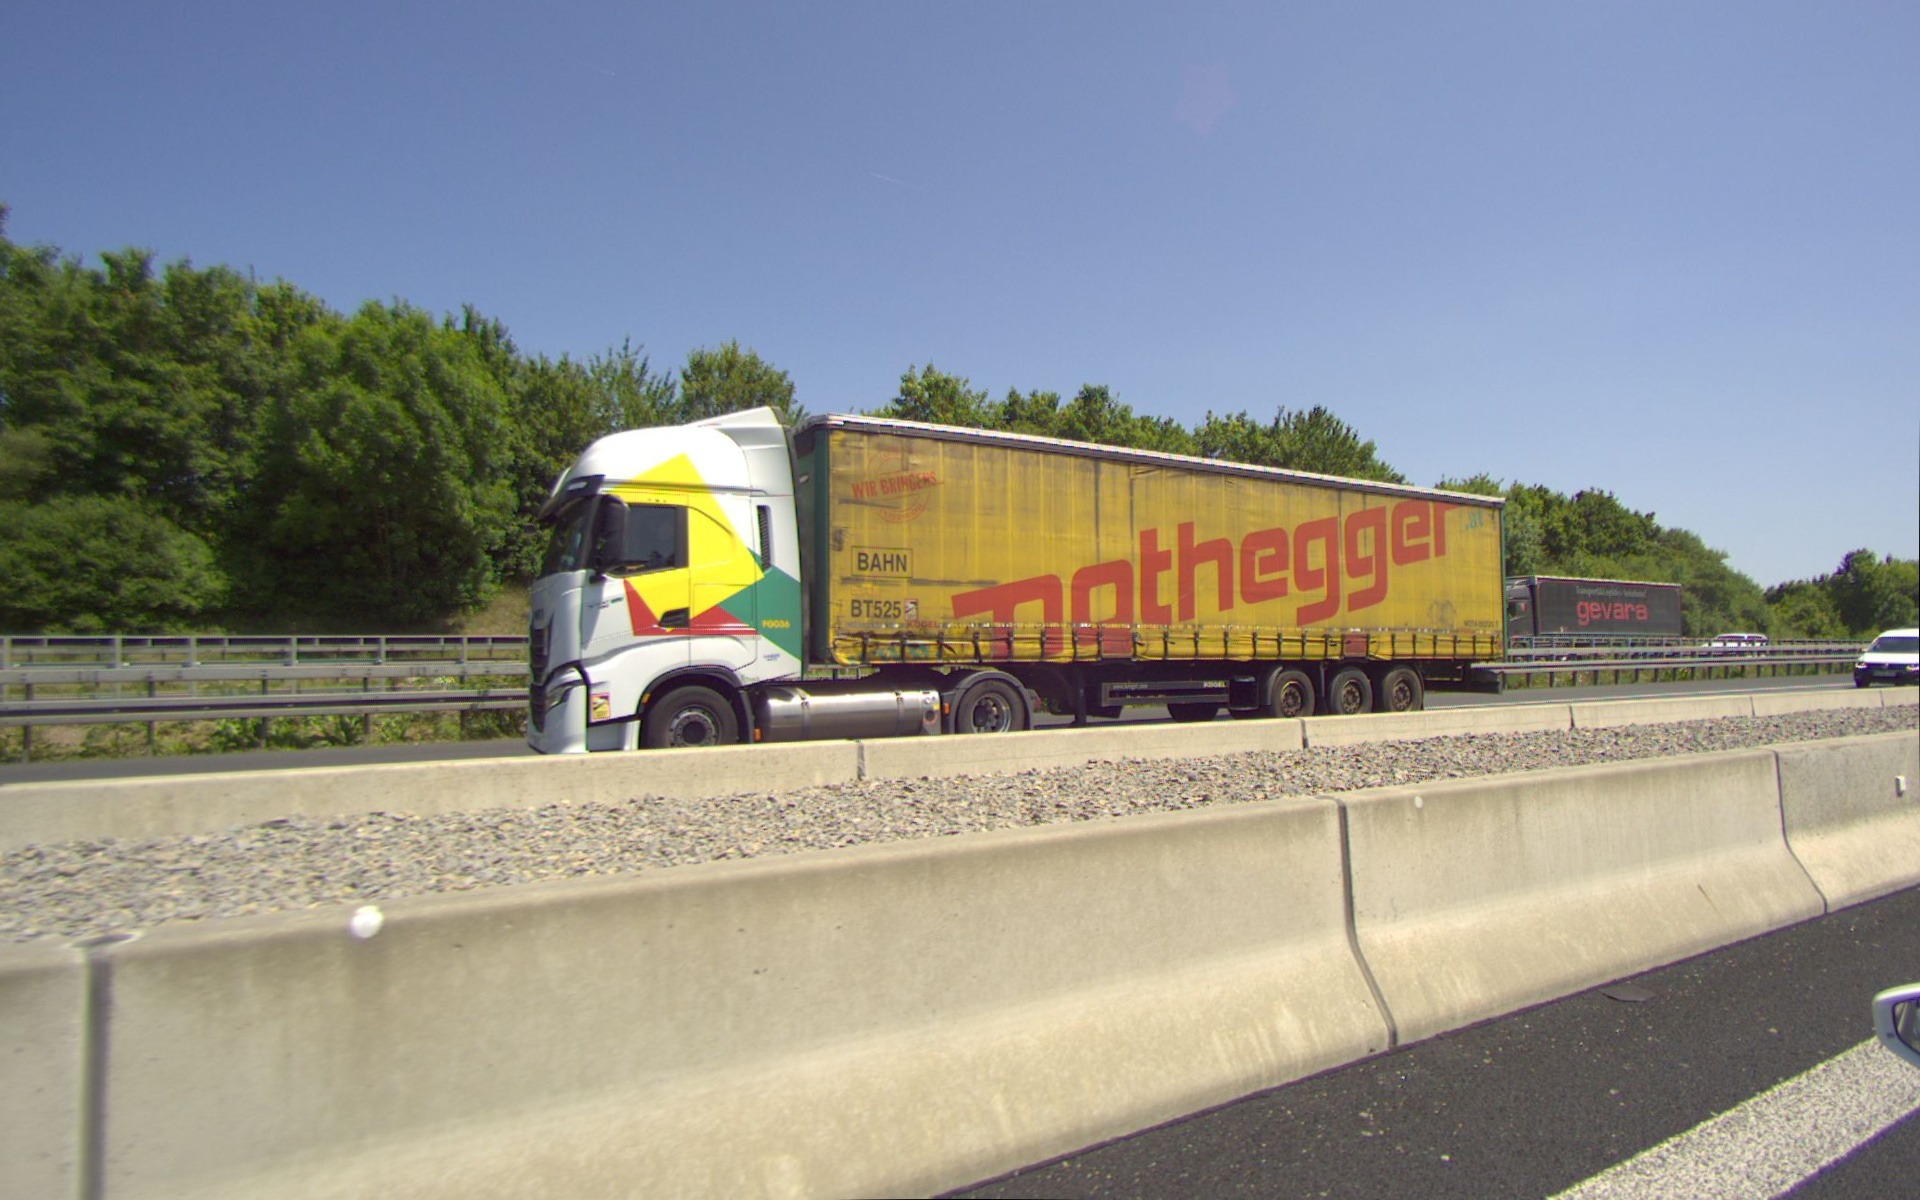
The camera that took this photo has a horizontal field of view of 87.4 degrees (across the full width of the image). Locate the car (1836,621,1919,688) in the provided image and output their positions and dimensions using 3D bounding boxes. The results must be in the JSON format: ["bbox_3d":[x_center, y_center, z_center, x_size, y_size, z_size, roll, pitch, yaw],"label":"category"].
[{"bbox_3d":[28.862,1.646,30.627,4.845,1.850,1.734,2,0,-30],"label":"car"}]

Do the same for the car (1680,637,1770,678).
[{"bbox_3d":[37.636,2.805,49.396,4.485,1.882,1.984,1,-1,-30],"label":"car"}]

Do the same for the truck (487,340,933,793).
[{"bbox_3d":[-2.982,-0.271,11.968,4.501,4.345,2.692,2,0,-31],"label":"truck"}]

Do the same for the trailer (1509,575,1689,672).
[{"bbox_3d":[32.539,1.241,50.892,11.521,4.492,2.780,2,0,-31],"label":"trailer"}]

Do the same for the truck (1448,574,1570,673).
[{"bbox_3d":[25.498,1.086,46.633,4.940,4.329,2.796,2,0,-30],"label":"truck"}]

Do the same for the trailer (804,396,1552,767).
[{"bbox_3d":[4.410,-0.037,16.337,13.654,4.330,2.654,2,0,-31],"label":"trailer"}]
